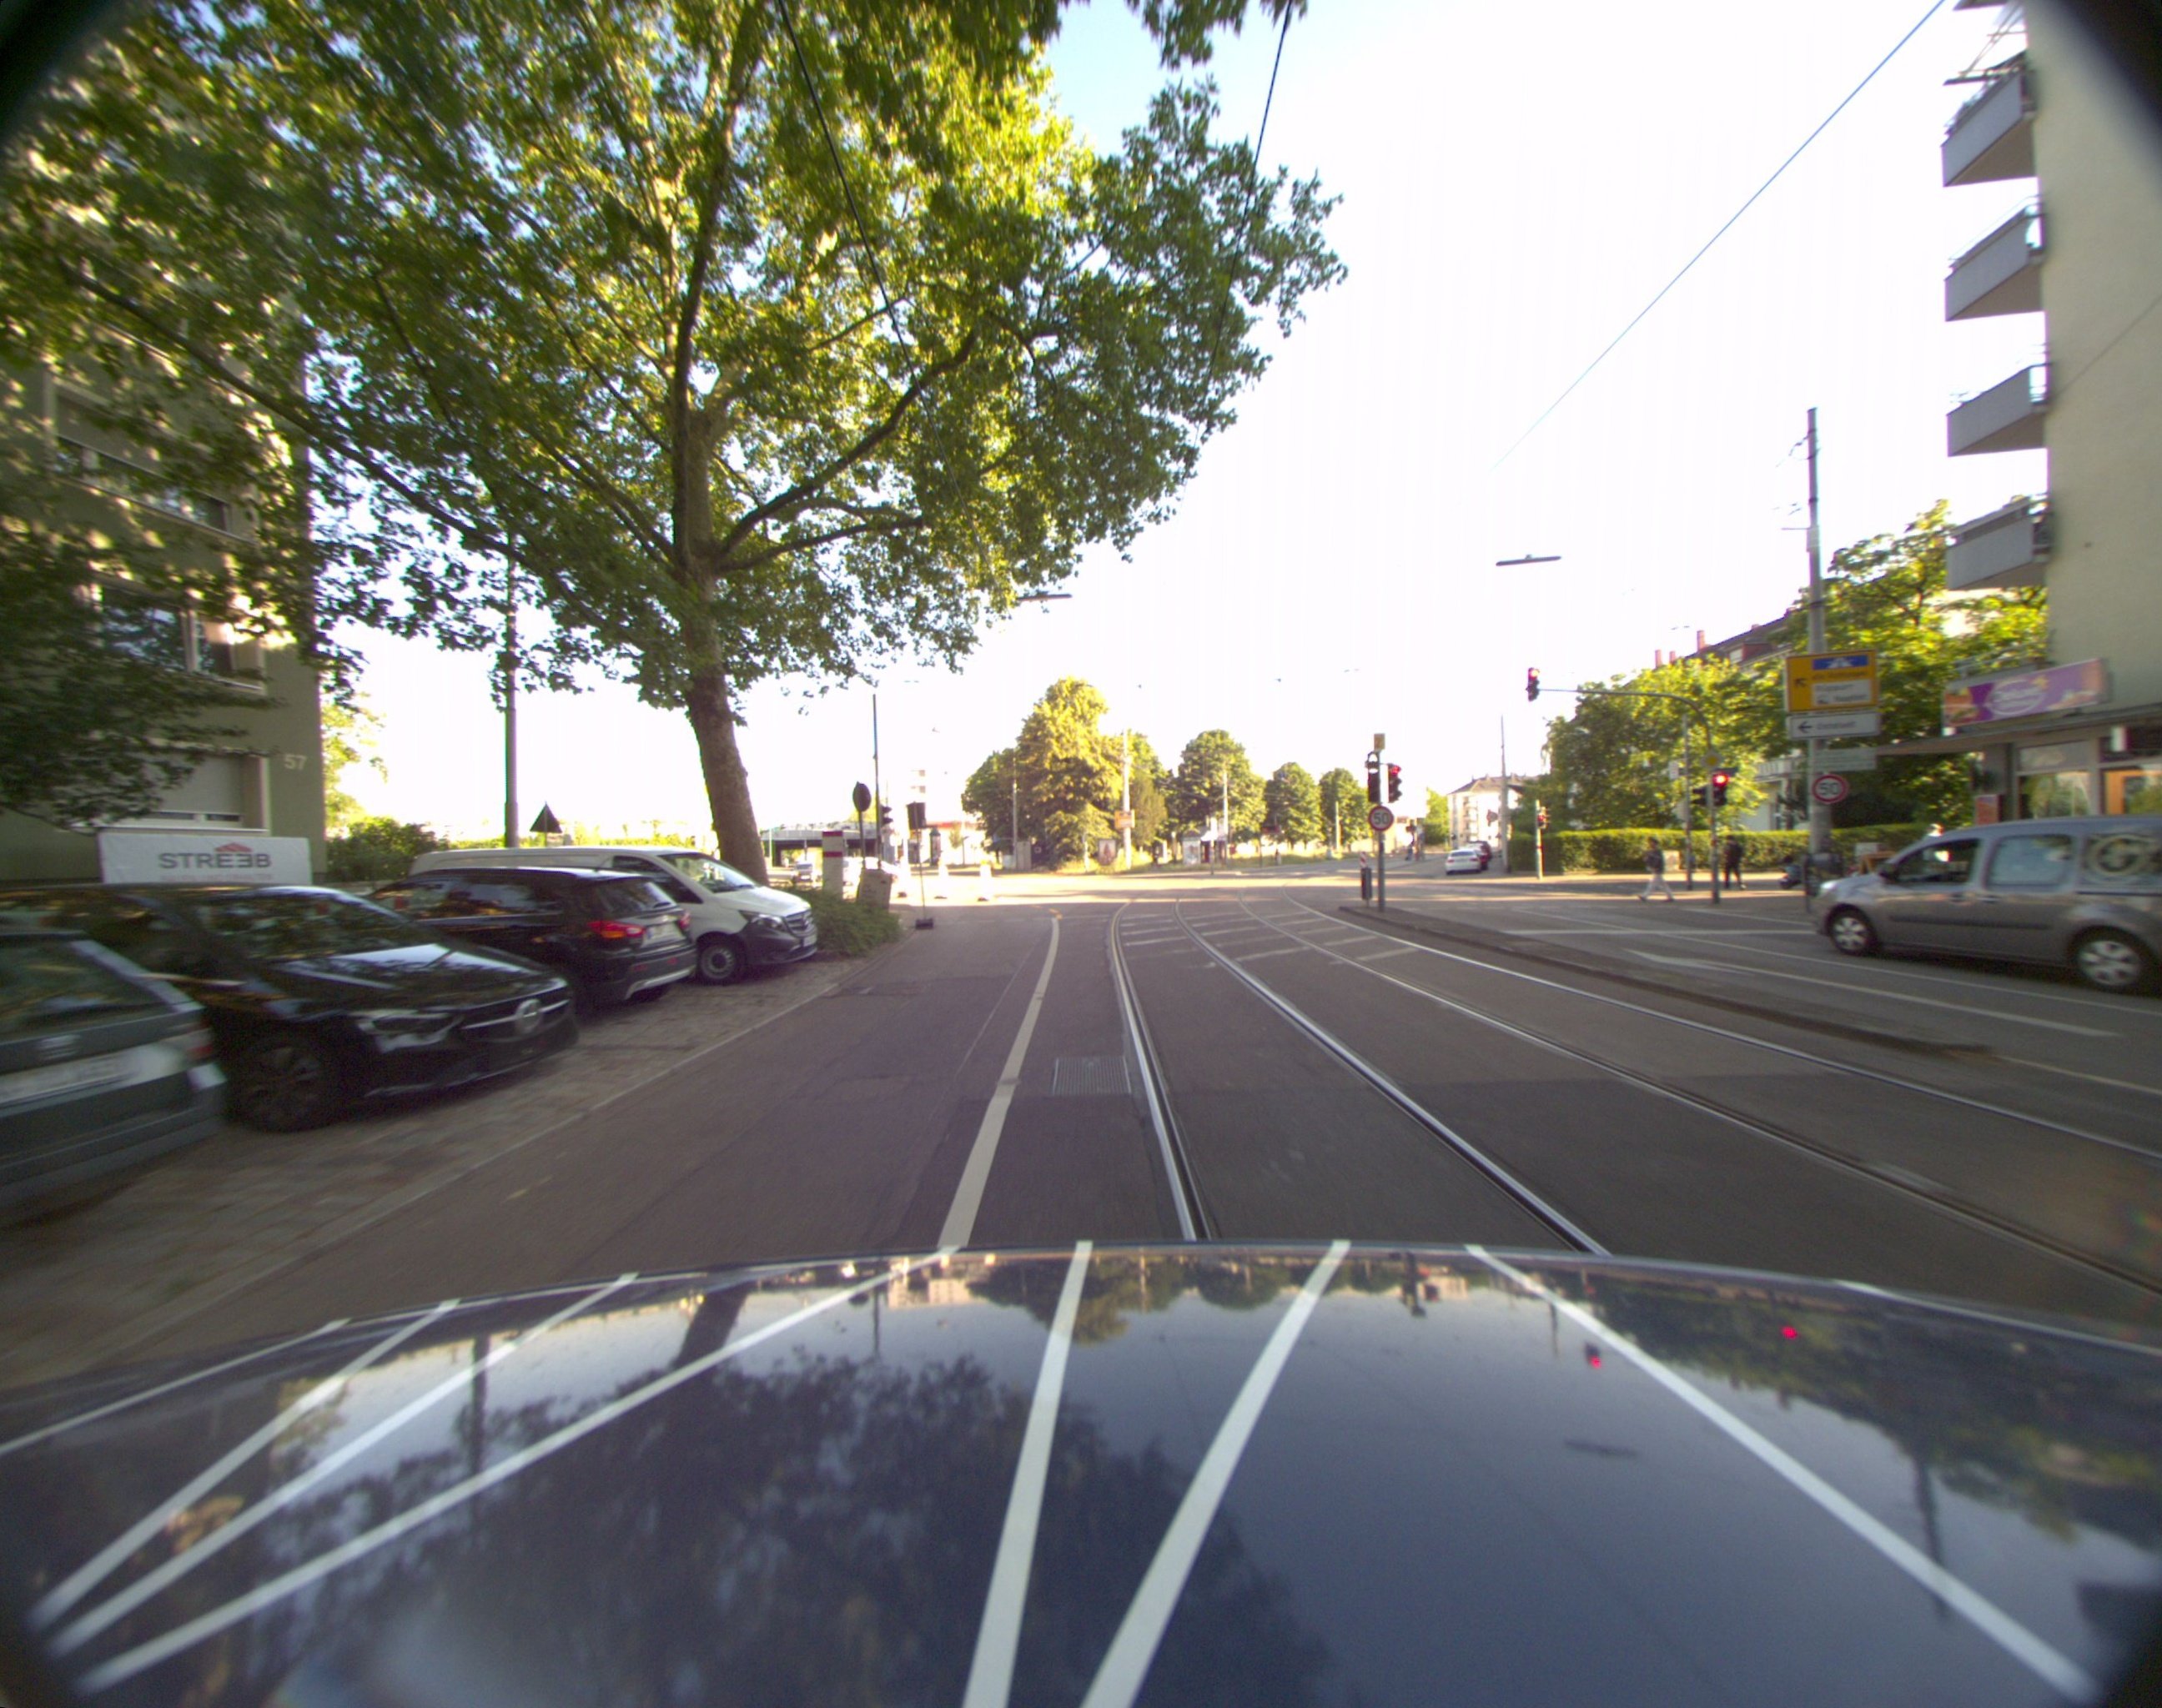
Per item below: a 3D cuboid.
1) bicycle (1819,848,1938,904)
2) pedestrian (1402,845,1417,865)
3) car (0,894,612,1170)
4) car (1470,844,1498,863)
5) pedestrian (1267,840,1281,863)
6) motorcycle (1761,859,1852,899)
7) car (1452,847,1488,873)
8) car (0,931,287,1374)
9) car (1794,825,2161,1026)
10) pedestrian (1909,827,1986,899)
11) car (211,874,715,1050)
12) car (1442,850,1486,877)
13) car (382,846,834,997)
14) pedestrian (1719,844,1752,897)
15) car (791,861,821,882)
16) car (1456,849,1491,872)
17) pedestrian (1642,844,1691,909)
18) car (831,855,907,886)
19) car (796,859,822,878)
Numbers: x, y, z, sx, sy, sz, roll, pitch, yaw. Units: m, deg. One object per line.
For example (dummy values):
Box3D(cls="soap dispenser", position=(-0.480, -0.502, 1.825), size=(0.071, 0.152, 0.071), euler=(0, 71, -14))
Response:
Box3D(cls="bicycle", position=(23.022, 0.600, 22.026), size=(0.845, 1.535, 2.517), euler=(-1, 0, 1))
Box3D(cls="pedestrian", position=(32.263, 0.096, 74.679), size=(1.001, 2.002, 0.876), euler=(-1, 1, -21))
Box3D(cls="car", position=(-6.123, 1.100, 5.441), size=(4.410, 1.514, 1.818), euler=(0, 0, 1))
Box3D(cls="car", position=(35.165, -0.048, 66.269), size=(1.814, 1.570, 3.748), euler=(-3, -1, 32))
Box3D(cls="pedestrian", position=(17.029, -0.190, 66.996), size=(0.913, 2.002, 0.860), euler=(-1, 1, -4))
Box3D(cls="motorcycle", position=(21.834, 0.730, 22.930), size=(0.758, 1.125, 2.093), euler=(-1, 0, 1))
Box3D(cls="car", position=(27.149, 0.404, 52.956), size=(1.814, 1.684, 3.989), euler=(-3, -1, 32))
Box3D(cls="car", position=(-5.834, 1.111, 2.798), size=(3.891, 1.488, 1.741), euler=(0, 0, -2))
Box3D(cls="car", position=(10.919, 0.640, 8.561), size=(1.998, 1.821, 4.226), euler=(0, 0, 5))
Box3D(cls="pedestrian", position=(22.592, 0.230, 19.841), size=(0.835, 1.804, 1.030), euler=(-1, 1, 1))
Box3D(cls="car", position=(-6.284, 1.042, 8.090), size=(3.884, 1.596, 1.796), euler=(0, 0, 0))
Box3D(cls="car", position=(21.647, 0.519, 42.874), size=(1.814, 1.419, 3.748), euler=(-3, -1, 32))
Box3D(cls="car", position=(-6.348, 0.854, 10.659), size=(5.126, 1.845, 1.914), euler=(1, 1, 0))
Box3D(cls="pedestrian", position=(19.857, 0.481, 23.049), size=(0.472, 1.568, 0.545), euler=(-3, 1, 1))
Box3D(cls="car", position=(-19.037, 1.182, 52.579), size=(1.644, 1.317, 3.331), euler=(-1, 0, -25))
Box3D(cls="car", position=(24.315, 0.417, 47.028), size=(1.638, 1.315, 3.345), euler=(-3, -1, 32))
Box3D(cls="pedestrian", position=(15.247, 0.571, 19.805), size=(0.753, 1.670, 0.794), euler=(0, 1, 15))
Box3D(cls="car", position=(-11.537, 0.890, 41.462), size=(1.638, 1.427, 3.579), euler=(-4, -1, 45))
Box3D(cls="car", position=(-21.914, 1.148, 61.246), size=(1.644, 1.414, 3.331), euler=(-1, 0, -25))
